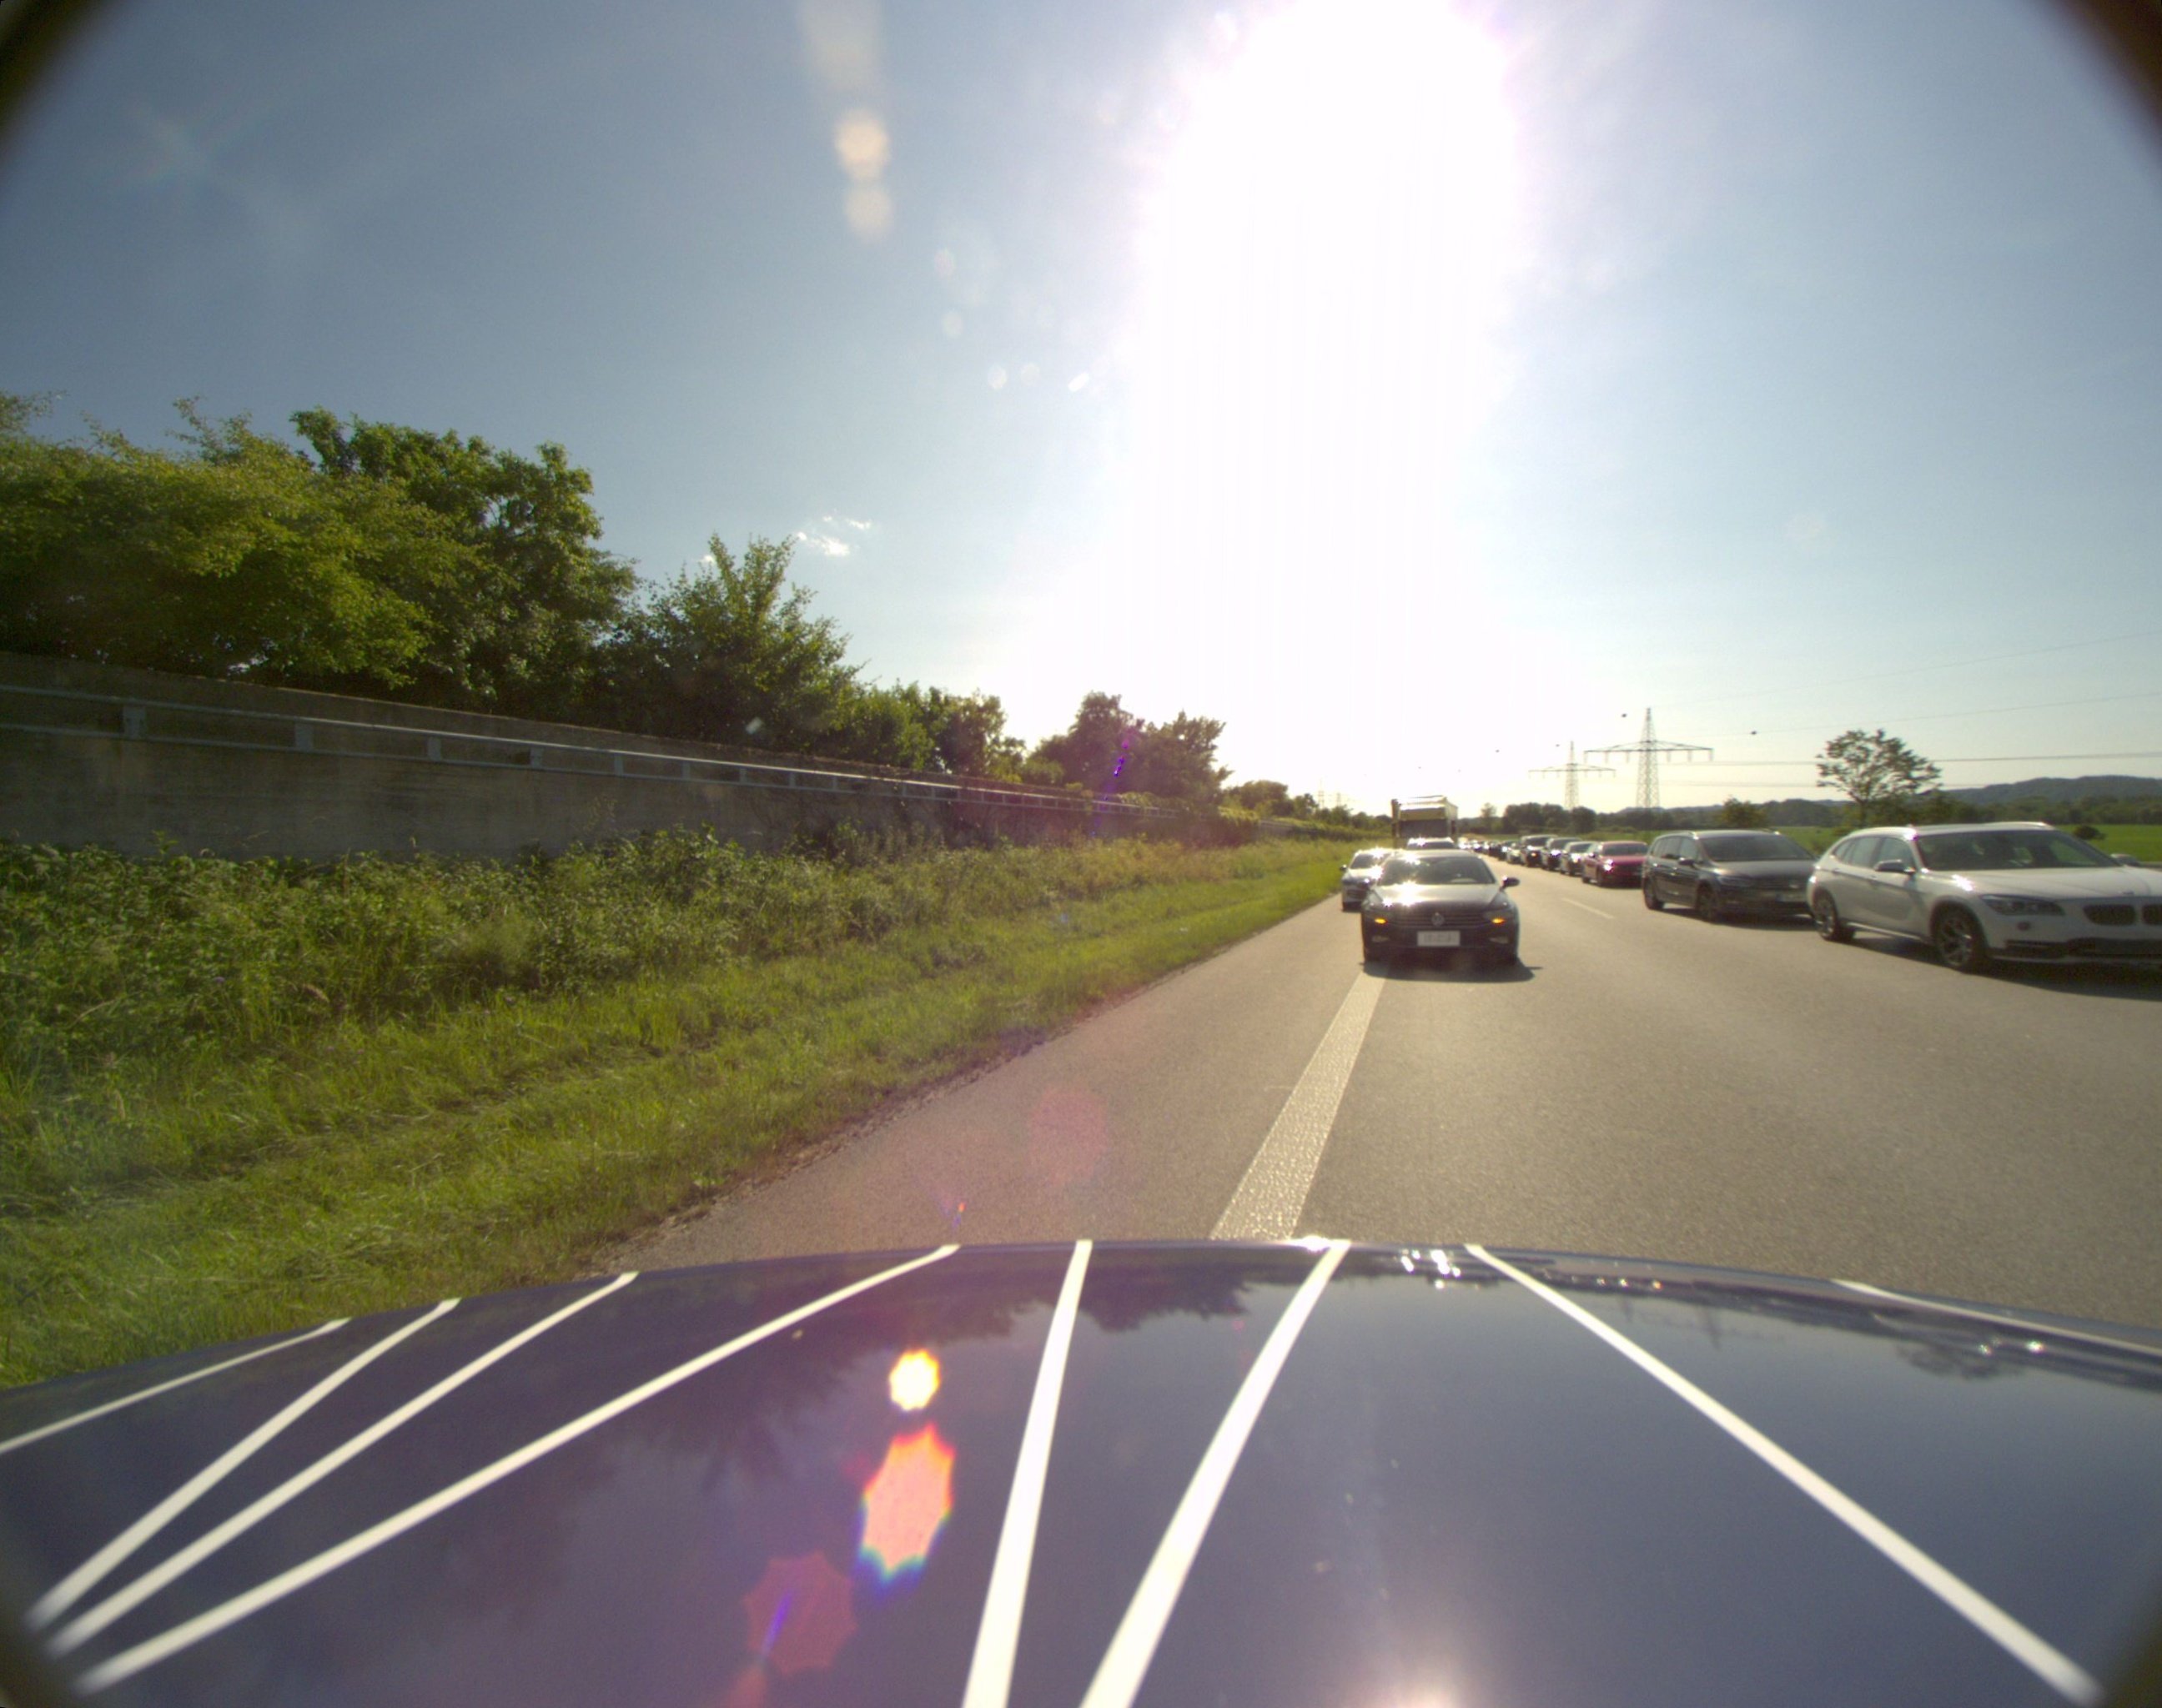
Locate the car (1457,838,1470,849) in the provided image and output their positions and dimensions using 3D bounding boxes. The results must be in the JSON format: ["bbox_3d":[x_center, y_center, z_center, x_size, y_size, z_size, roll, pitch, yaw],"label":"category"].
[{"bbox_3d":[64.054,-1.782,127.381,1.810,1.783,3.779,-1,1,24],"label":"car"}]

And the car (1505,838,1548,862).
[{"bbox_3d":[29.699,-0.307,50.739,1.995,1.522,4.006,-1,1,24],"label":"car"}]

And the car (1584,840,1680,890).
[{"bbox_3d":[17.629,0.306,24.506,1.816,1.450,4.124,-1,1,26],"label":"car"}]

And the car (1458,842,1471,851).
[{"bbox_3d":[59.996,-1.164,118.961,1.816,1.450,4.124,-1,1,26],"label":"car"}]

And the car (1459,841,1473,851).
[{"bbox_3d":[57.654,-1.249,113.811,1.817,1.450,4.124,-3,0,26],"label":"car"}]

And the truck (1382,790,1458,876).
[{"bbox_3d":[18.258,-1.071,40.678,3.328,4.089,6.981,-2,1,26],"label":"truck"}]

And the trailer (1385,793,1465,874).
[{"bbox_3d":[21.143,-1.240,46.073,3.382,4.089,13.975,-2,1,28],"label":"trailer"}]

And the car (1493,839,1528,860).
[{"bbox_3d":[33.421,-0.376,59.272,1.995,1.522,4.006,-1,1,24],"label":"car"}]

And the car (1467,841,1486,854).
[{"bbox_3d":[49.521,-0.828,95.098,1.817,1.450,4.124,-3,0,24],"label":"car"}]

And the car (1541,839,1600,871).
[{"bbox_3d":[24.243,0.022,37.773,1.891,1.447,4.006,-1,1,25],"label":"car"}]

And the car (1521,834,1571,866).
[{"bbox_3d":[26.935,-0.254,44.103,1.899,1.777,4.206,-1,1,24],"label":"car"}]

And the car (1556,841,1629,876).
[{"bbox_3d":[21.631,0.157,32.261,1.892,1.390,4.006,-1,1,24],"label":"car"}]

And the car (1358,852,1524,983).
[{"bbox_3d":[5.094,0.744,10.877,1.714,1.405,4.332,-2,0,25],"label":"car"}]

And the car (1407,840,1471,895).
[{"bbox_3d":[11.787,0.400,25.109,1.714,1.614,4.332,-2,0,25],"label":"car"}]

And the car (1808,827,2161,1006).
[{"bbox_3d":[10.344,0.525,8.582,1.829,1.564,4.170,-1,0,25],"label":"car"}]

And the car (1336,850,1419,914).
[{"bbox_3d":[7.818,0.663,19.809,1.714,1.417,4.332,-2,0,25],"label":"car"}]

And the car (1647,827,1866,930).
[{"bbox_3d":[12.177,0.382,14.058,1.817,1.606,4.124,-2,0,24],"label":"car"}]
